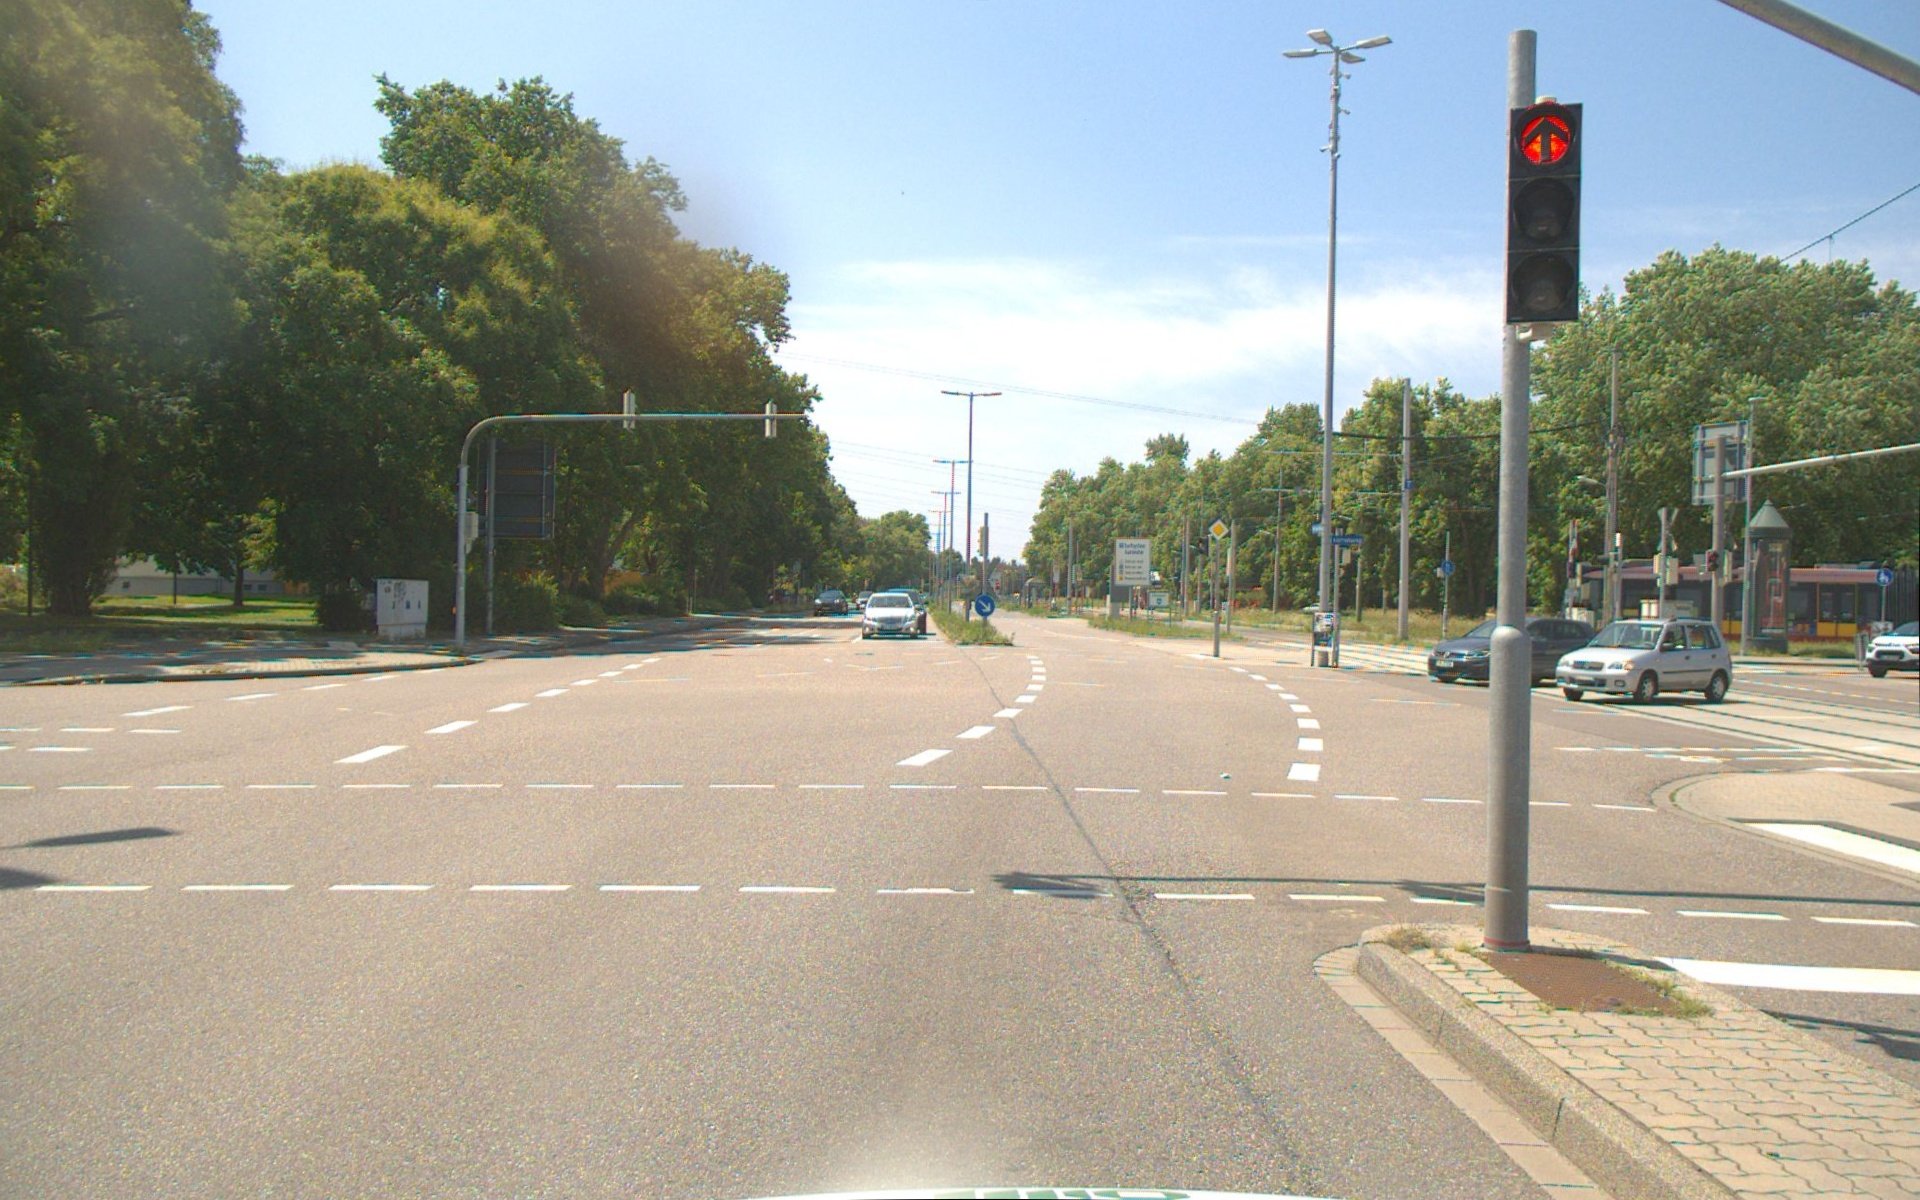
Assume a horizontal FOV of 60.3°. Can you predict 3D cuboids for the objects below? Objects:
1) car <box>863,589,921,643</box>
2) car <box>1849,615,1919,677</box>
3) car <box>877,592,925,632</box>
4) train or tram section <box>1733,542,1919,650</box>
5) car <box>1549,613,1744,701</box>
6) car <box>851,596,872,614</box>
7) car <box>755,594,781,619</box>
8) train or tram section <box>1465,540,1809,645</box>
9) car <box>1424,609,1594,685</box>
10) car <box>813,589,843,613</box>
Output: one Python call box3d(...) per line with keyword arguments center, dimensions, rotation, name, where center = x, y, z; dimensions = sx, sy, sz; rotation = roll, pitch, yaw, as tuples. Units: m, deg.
box3d(center=(-2.188, 0.498, 54.162), dimensions=(1.748, 1.657, 3.864), rotation=(1, 0, -1), name="car")
box3d(center=(25.183, 1.183, 42.870), dimensions=(4.428, 1.488, 1.625), rotation=(1, 0, -28), name="car")
box3d(center=(-2.148, 0.433, 61.509), dimensions=(1.676, 1.389, 3.864), rotation=(1, 0, -1), name="car")
box3d(center=(38.479, 0.007, 67.809), dimensions=(13.175, 3.879, 2.915), rotation=(3, -3, -12), name="train or tram section")
box3d(center=(12.669, 1.021, 30.458), dimensions=(3.764, 1.488, 1.619), rotation=(1, 0, -36), name="car")
box3d(center=(-8.555, 0.410, 143.518), dimensions=(1.637, 1.516, 3.710), rotation=(1, 0, -1), name="car")
box3d(center=(-16.765, 0.584, 144.462), dimensions=(1.955, 2.048, 3.996), rotation=(4, -1, -4), name="car")
box3d(center=(27.662, -0.312, 68.259), dimensions=(12.754, 3.878, 2.925), rotation=(2, -3, 13), name="train or tram section")
box3d(center=(11.619, 0.969, 34.967), dimensions=(3.465, 1.488, 1.622), rotation=(1, 0, -33), name="car")
box3d(center=(-8.591, 0.026, 107.952), dimensions=(1.637, 1.516, 3.710), rotation=(1, 0, -1), name="car")
